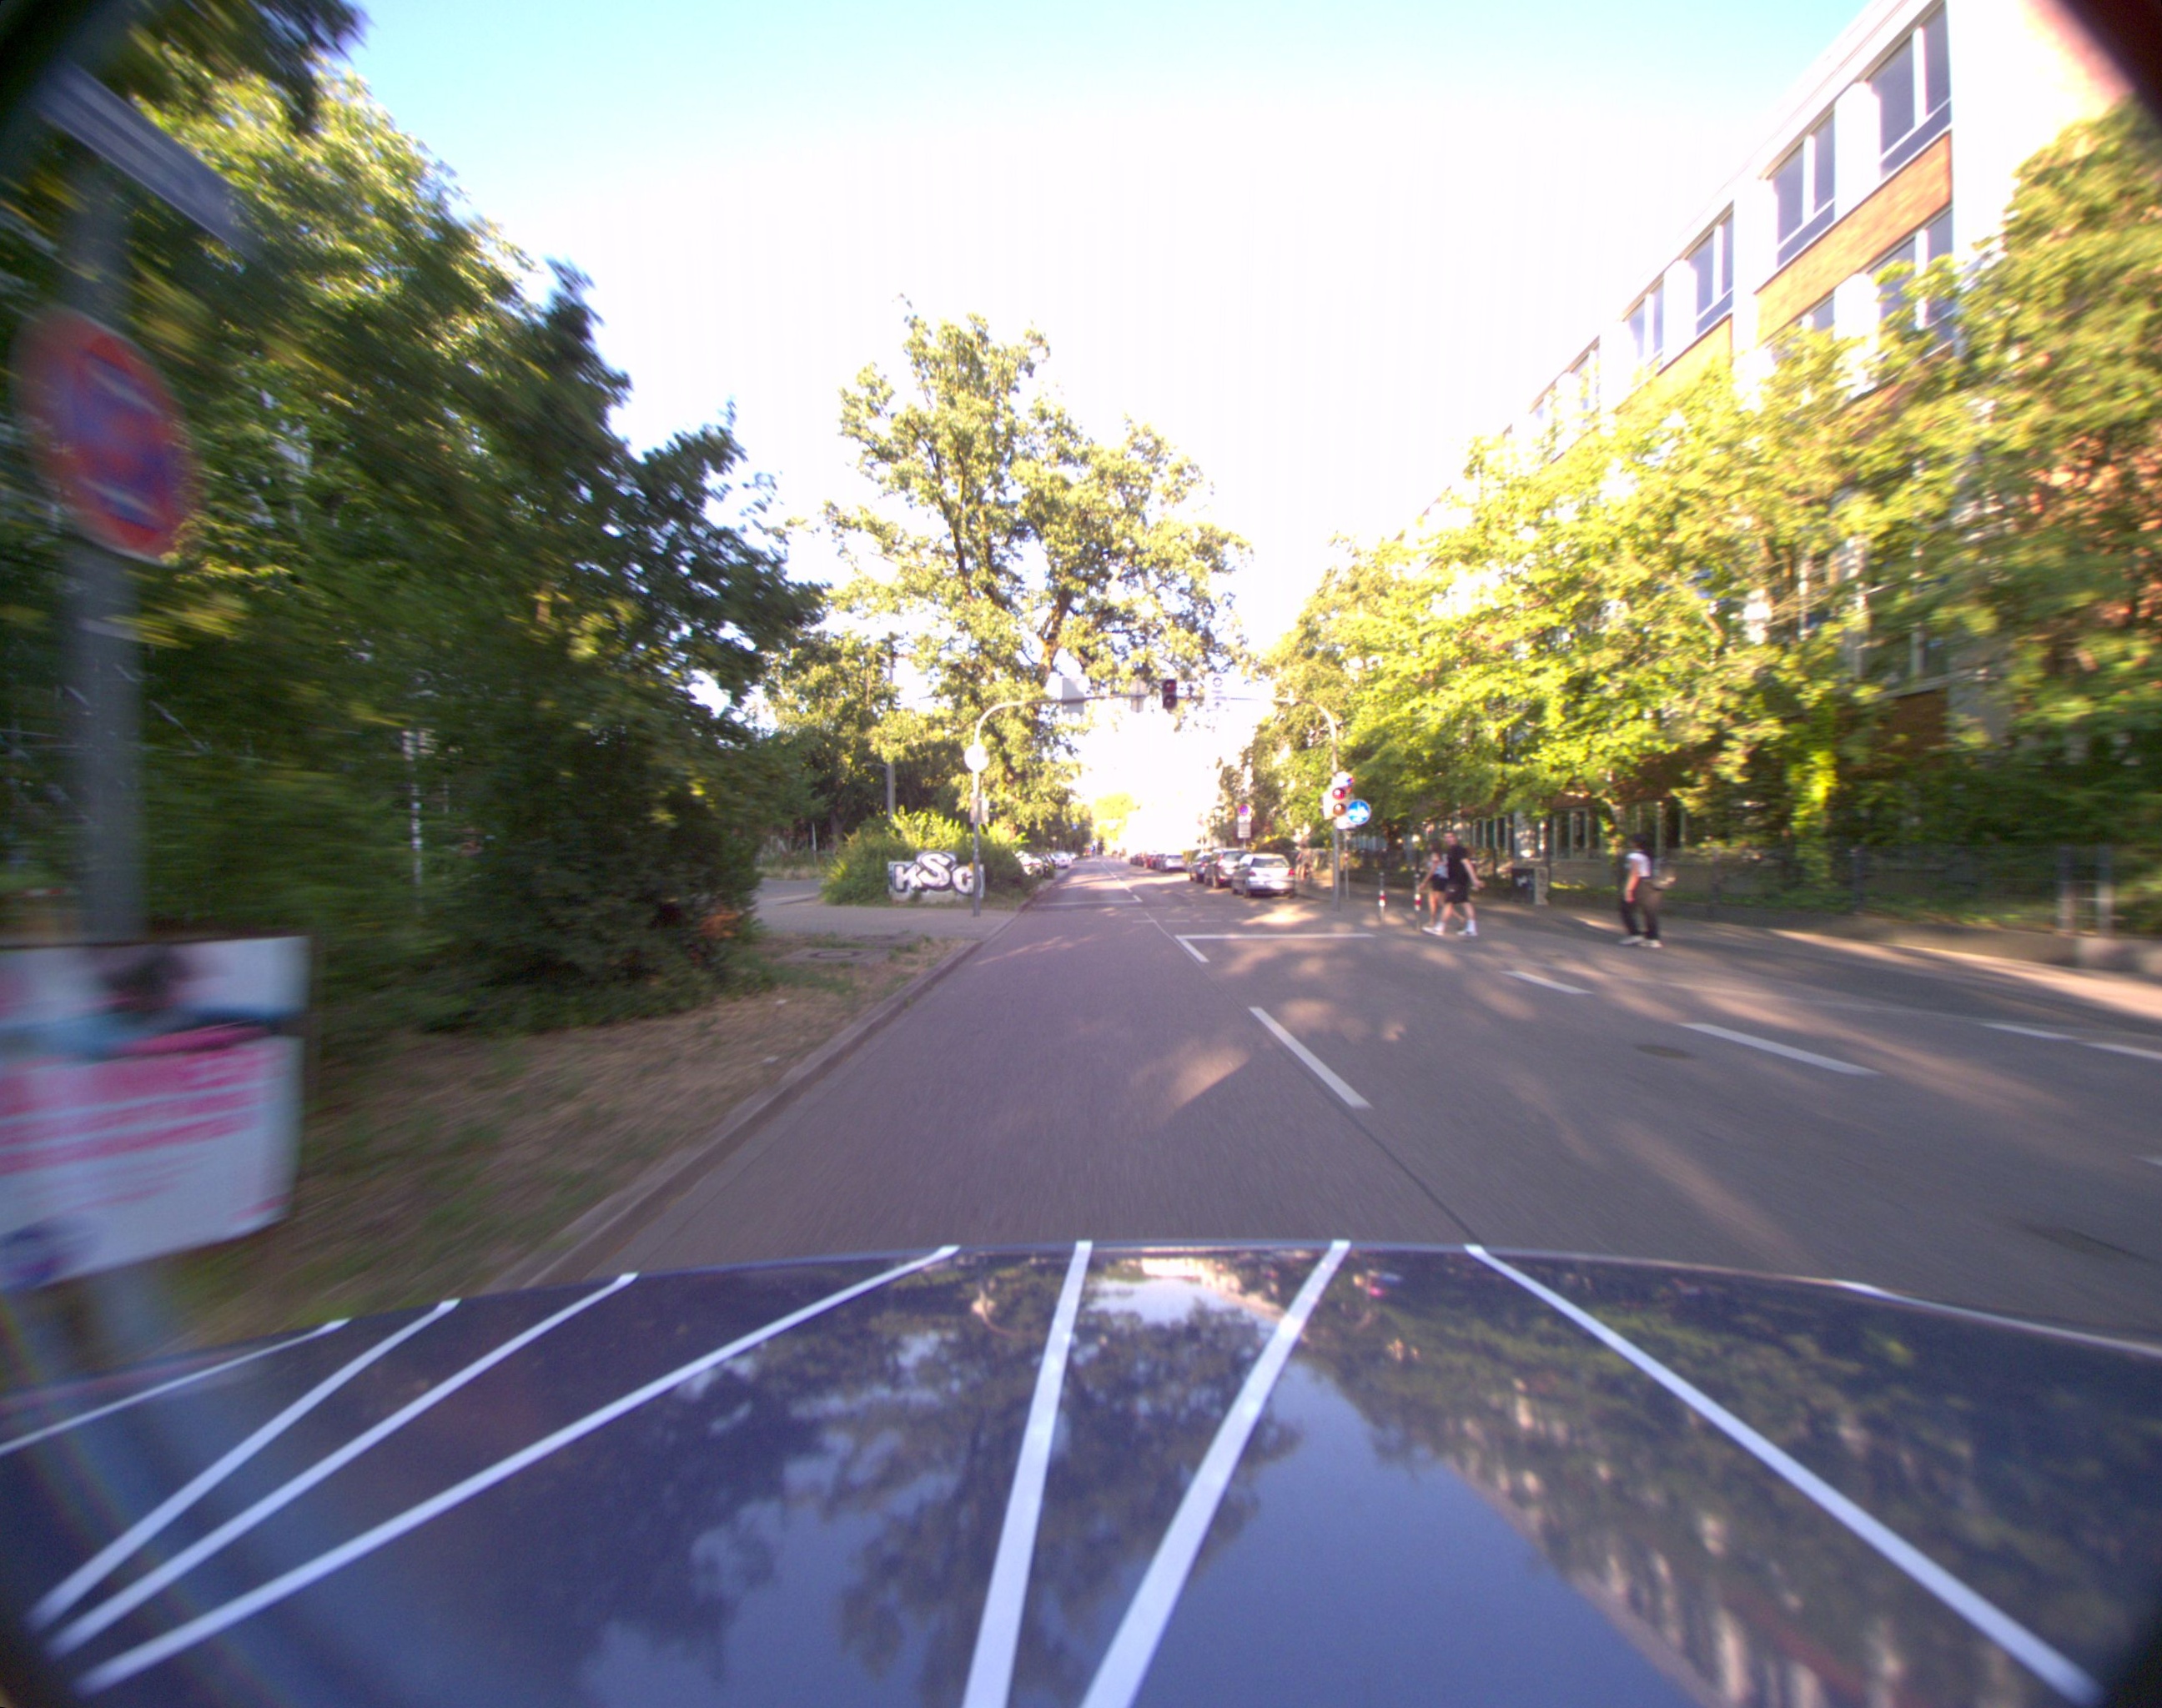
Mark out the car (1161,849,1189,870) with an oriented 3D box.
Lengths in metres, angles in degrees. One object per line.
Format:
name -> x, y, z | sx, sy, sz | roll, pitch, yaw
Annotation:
car -> 6.855, 0.417, 55.972 | 1.605, 1.485, 3.772 | 1, 0, 0

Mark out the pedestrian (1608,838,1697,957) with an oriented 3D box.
pedestrian -> 8.294, 0.599, 11.047 | 0.716, 1.653, 0.765 | 0, 1, -23

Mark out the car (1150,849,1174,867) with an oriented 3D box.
car -> 6.959, 0.355, 65.370 | 1.602, 1.447, 4.054 | 1, 0, 0

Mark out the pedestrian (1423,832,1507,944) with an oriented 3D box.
pedestrian -> 6.496, 0.548, 12.878 | 0.823, 1.813, 0.955 | 0, 1, -23

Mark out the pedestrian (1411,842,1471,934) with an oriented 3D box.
pedestrian -> 6.681, 0.608, 14.121 | 0.716, 1.653, 0.706 | 0, 1, -23

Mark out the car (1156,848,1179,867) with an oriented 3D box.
car -> 6.883, 0.274, 60.891 | 1.602, 1.499, 3.788 | 1, 0, 3

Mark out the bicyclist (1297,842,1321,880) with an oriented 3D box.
bicyclist -> 9.688, 0.290, 32.296 | 0.678, 1.594, 0.705 | -1, 1, -10

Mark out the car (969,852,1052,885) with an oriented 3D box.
car -> -3.639, 0.722, 39.545 | 4.132, 1.658, 1.723 | 0, 0, 1

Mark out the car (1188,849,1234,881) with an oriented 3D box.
car -> 6.437, 0.514, 38.011 | 1.675, 1.485, 4.061 | 1, 0, 1

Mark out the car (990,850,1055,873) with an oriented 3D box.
car -> -4.013, 0.513, 52.843 | 4.349, 1.466, 1.742 | 2, 0, 0

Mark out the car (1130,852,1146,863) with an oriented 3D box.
car -> 7.281, 0.411, 97.051 | 1.746, 1.349, 4.396 | 0, 1, 1

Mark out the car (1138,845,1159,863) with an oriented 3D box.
car -> 7.200, -0.043, 81.507 | 1.812, 1.878, 4.237 | 0, 1, 0

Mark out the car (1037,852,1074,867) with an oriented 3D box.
car -> -2.530, 0.566, 76.493 | 3.676, 1.436, 1.734 | 0, 1, -1

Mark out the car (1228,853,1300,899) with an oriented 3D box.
car -> 6.257, 0.702, 26.337 | 1.683, 1.448, 3.882 | 1, 0, 2

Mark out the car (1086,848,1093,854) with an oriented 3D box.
car -> 2.875, -0.939, 250.756 | 2.228, 2.002, 4.890 | 0, 0, 2

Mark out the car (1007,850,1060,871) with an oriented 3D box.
car -> -3.745, 0.509, 60.524 | 4.131, 1.466, 1.831 | 2, 1, -1

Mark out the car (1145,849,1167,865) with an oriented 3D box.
car -> 7.007, 0.281, 71.306 | 1.602, 1.447, 3.861 | 0, 1, 0

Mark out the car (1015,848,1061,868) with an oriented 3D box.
car -> -3.699, 0.332, 66.134 | 3.817, 1.466, 1.756 | 3, 1, 1

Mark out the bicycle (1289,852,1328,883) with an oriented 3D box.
bicycle -> 9.675, 0.541, 32.434 | 0.688, 1.242, 2.190 | -1, 1, -9

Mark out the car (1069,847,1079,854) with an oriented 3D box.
car -> -1.347, -0.703, 151.840 | 1.752, 1.478, 4.177 | 0, 1, 4

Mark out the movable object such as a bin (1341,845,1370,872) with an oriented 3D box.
movable object such as a bin -> 14.902, 0.228, 41.288 | 1.101, 1.422, 1.372 | -1, 1, 4

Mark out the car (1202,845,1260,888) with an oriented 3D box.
car -> 6.366, 0.491, 32.682 | 1.683, 1.698, 4.340 | 1, 0, 1

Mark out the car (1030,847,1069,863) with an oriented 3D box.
car -> -3.025, 0.107, 73.770 | 3.676, 1.544, 1.734 | 0, 1, -1

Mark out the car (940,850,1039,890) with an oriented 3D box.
car -> -4.168, 0.707, 34.952 | 4.179, 1.700, 1.868 | -1, 1, 5
